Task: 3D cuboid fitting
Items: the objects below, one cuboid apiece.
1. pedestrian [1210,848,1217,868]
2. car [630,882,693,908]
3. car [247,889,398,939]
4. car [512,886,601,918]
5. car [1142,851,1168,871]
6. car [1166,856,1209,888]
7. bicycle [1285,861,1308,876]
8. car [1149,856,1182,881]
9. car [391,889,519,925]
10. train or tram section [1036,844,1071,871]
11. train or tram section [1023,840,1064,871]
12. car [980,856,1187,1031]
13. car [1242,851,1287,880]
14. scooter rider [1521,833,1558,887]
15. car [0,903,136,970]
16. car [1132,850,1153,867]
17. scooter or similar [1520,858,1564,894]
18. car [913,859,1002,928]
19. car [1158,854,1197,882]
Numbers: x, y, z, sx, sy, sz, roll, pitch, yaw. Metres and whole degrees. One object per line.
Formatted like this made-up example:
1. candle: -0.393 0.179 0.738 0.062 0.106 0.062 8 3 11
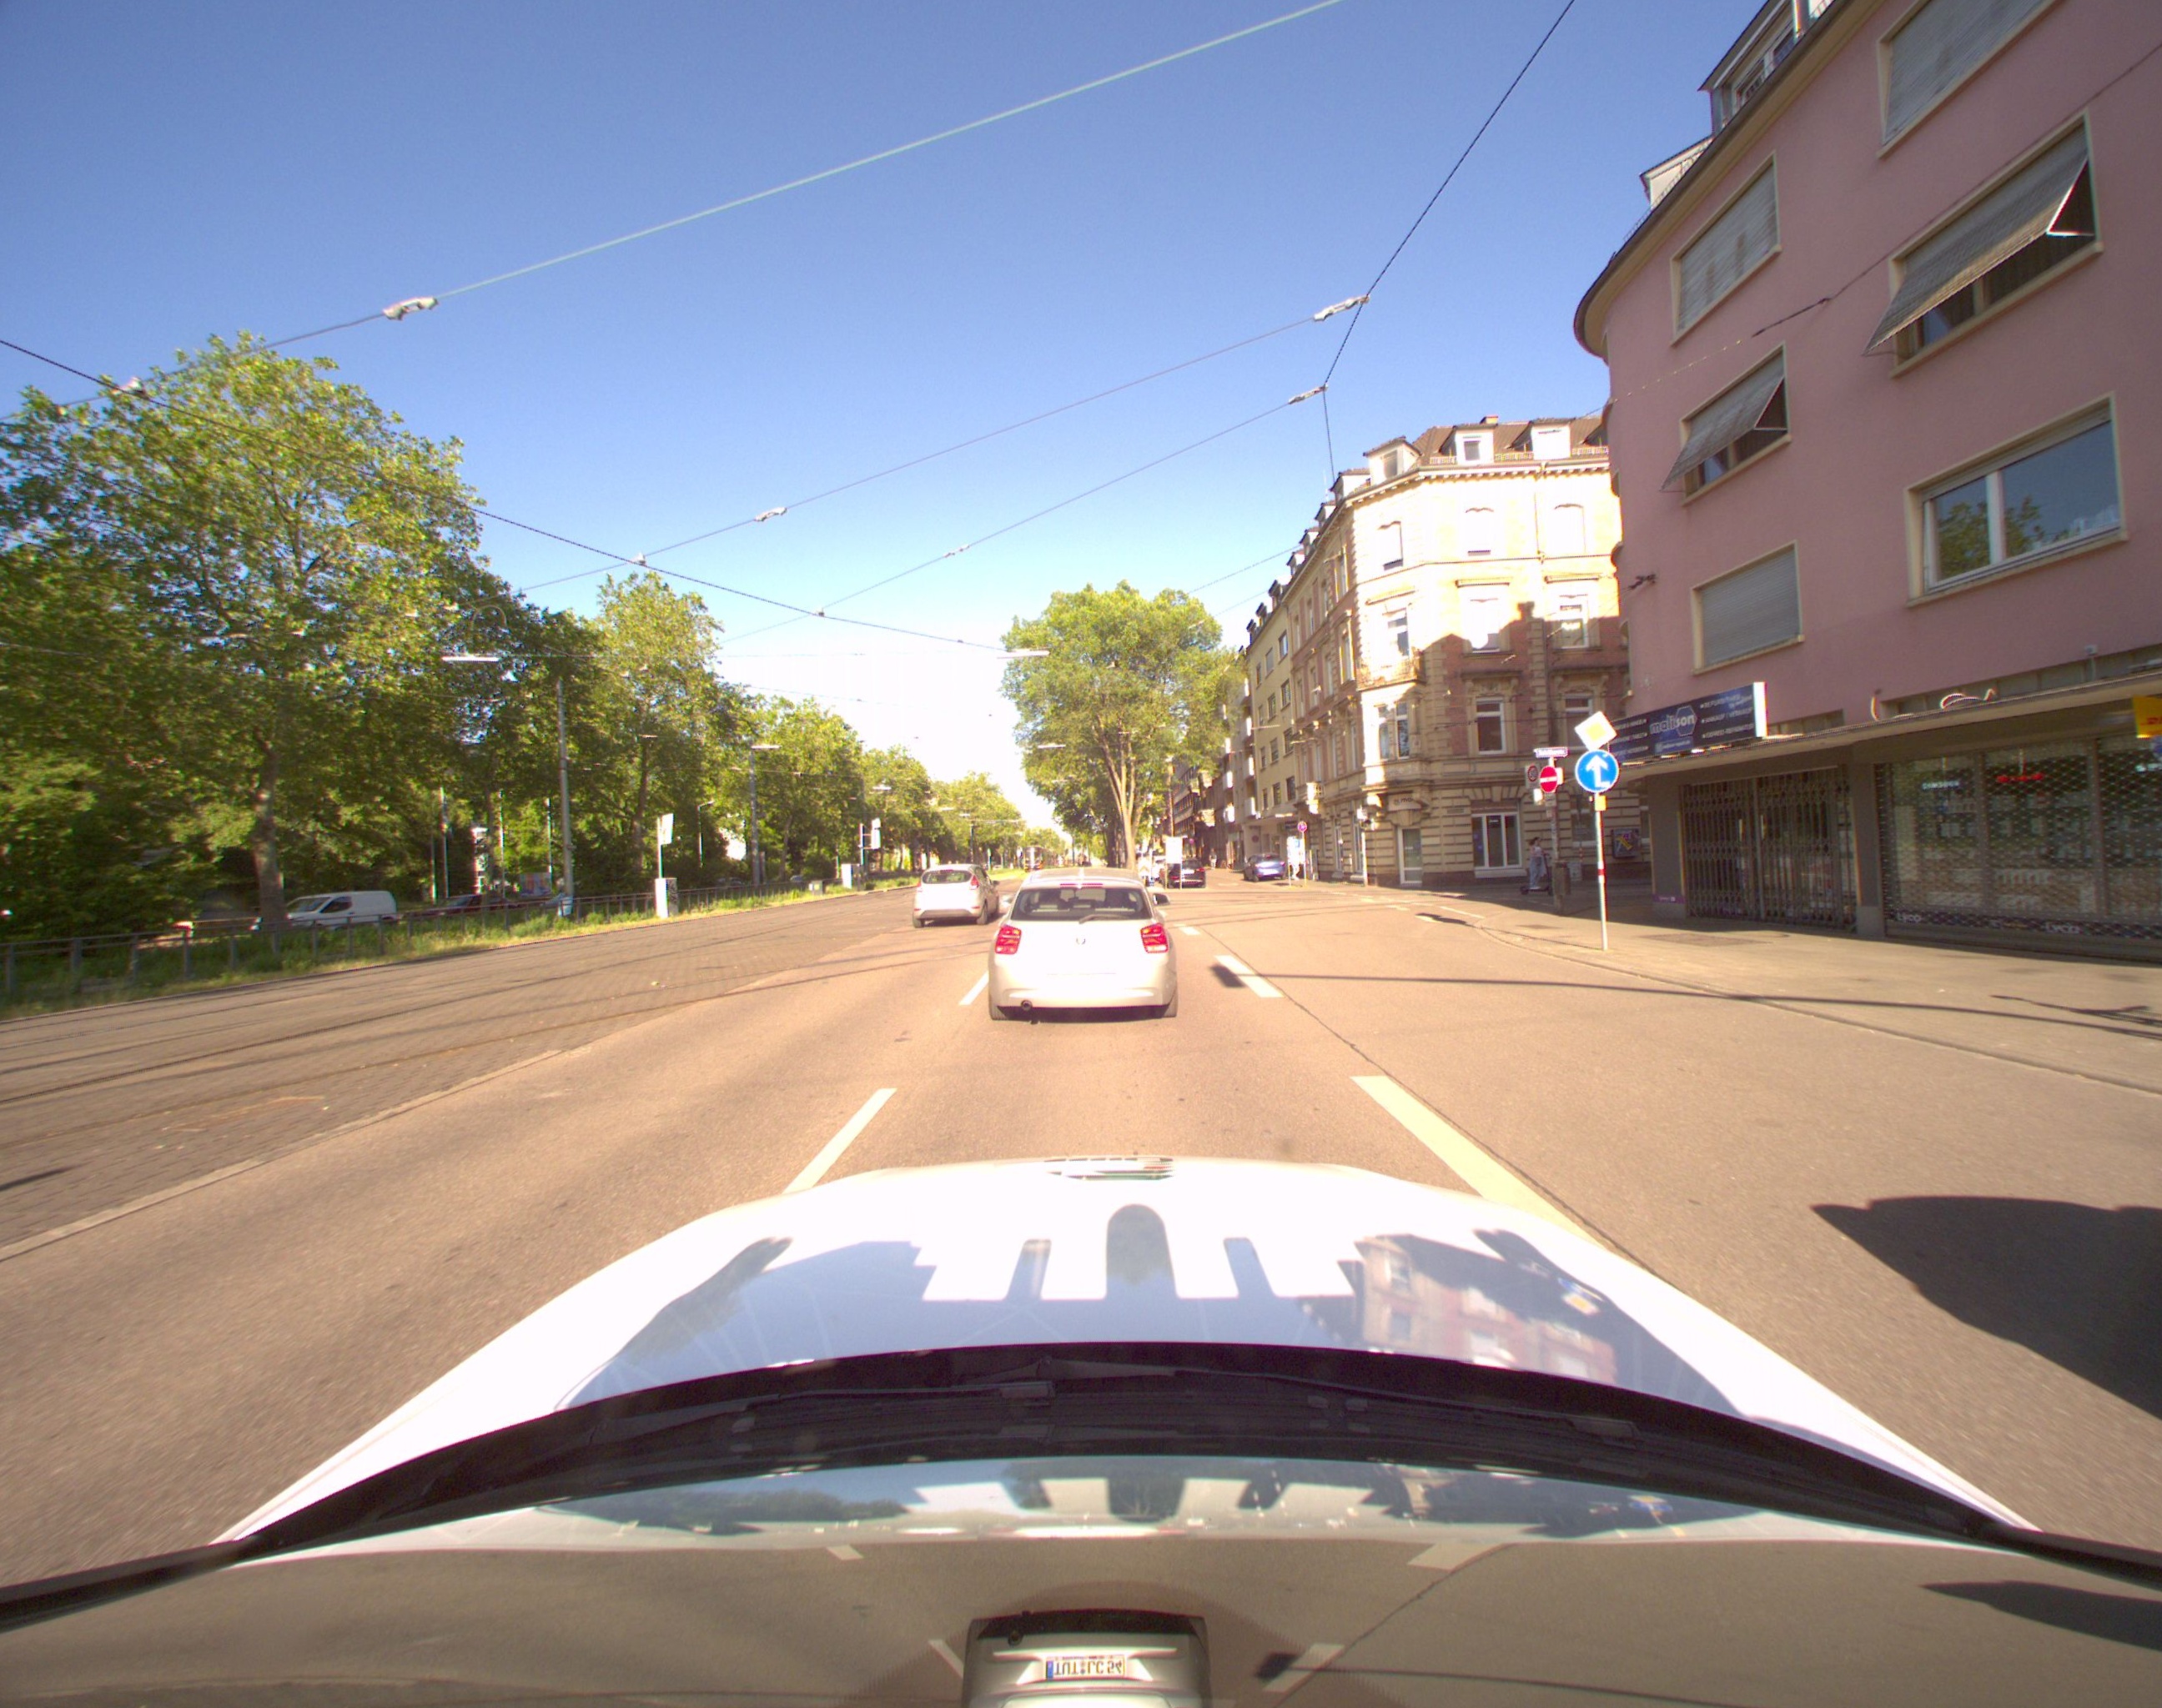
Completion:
1. pedestrian: 12.178 0.343 74.726 0.503 1.802 0.806 -3 0 2
2. car: -28.209 2.723 54.898 1.929 1.509 4.279 -2 -1 1
3. car: -28.081 2.189 30.360 1.663 1.509 4.145 -2 0 1
4. car: -28.108 2.532 43.854 1.929 1.509 4.279 -2 -1 1
5. car: 5.723 0.531 63.142 1.718 1.507 3.555 -1 0 1
6. car: 5.089 0.836 39.346 1.728 1.433 3.680 -1 0 3
7. bicycle: 11.925 0.803 45.186 0.752 0.770 1.945 -2 0 1
8. car: 5.208 0.870 50.416 1.718 1.507 3.555 -1 0 1
9. car: -27.792 2.314 36.404 1.929 1.349 4.849 -2 -1 1
10. train or tram section: -4.197 0.482 129.580 3.990 3.866 17.498 -2 0 2
11. train or tram section: -4.973 0.208 111.913 3.953 3.866 17.498 -2 0 2
12. car: 0.096 0.768 8.908 1.733 1.467 4.002 -1 0 2
13. car: 10.082 0.598 44.996 1.729 1.519 3.637 -1 0 1
14. scooter rider: 13.171 0.171 23.399 0.465 1.505 0.808 -2 0 -8
15. car: -28.216 2.208 21.468 1.663 1.509 4.145 -2 0 1
16. car: 5.681 0.441 75.796 1.718 1.507 3.555 -1 0 1
17. scooter or similar: 13.220 0.613 23.381 0.337 0.988 1.280 -2 0 -8
18. car: -2.950 0.883 20.125 1.604 1.467 3.888 -2 0 -1
19. car: 5.202 0.717 44.307 1.738 1.433 3.555 -1 0 1
